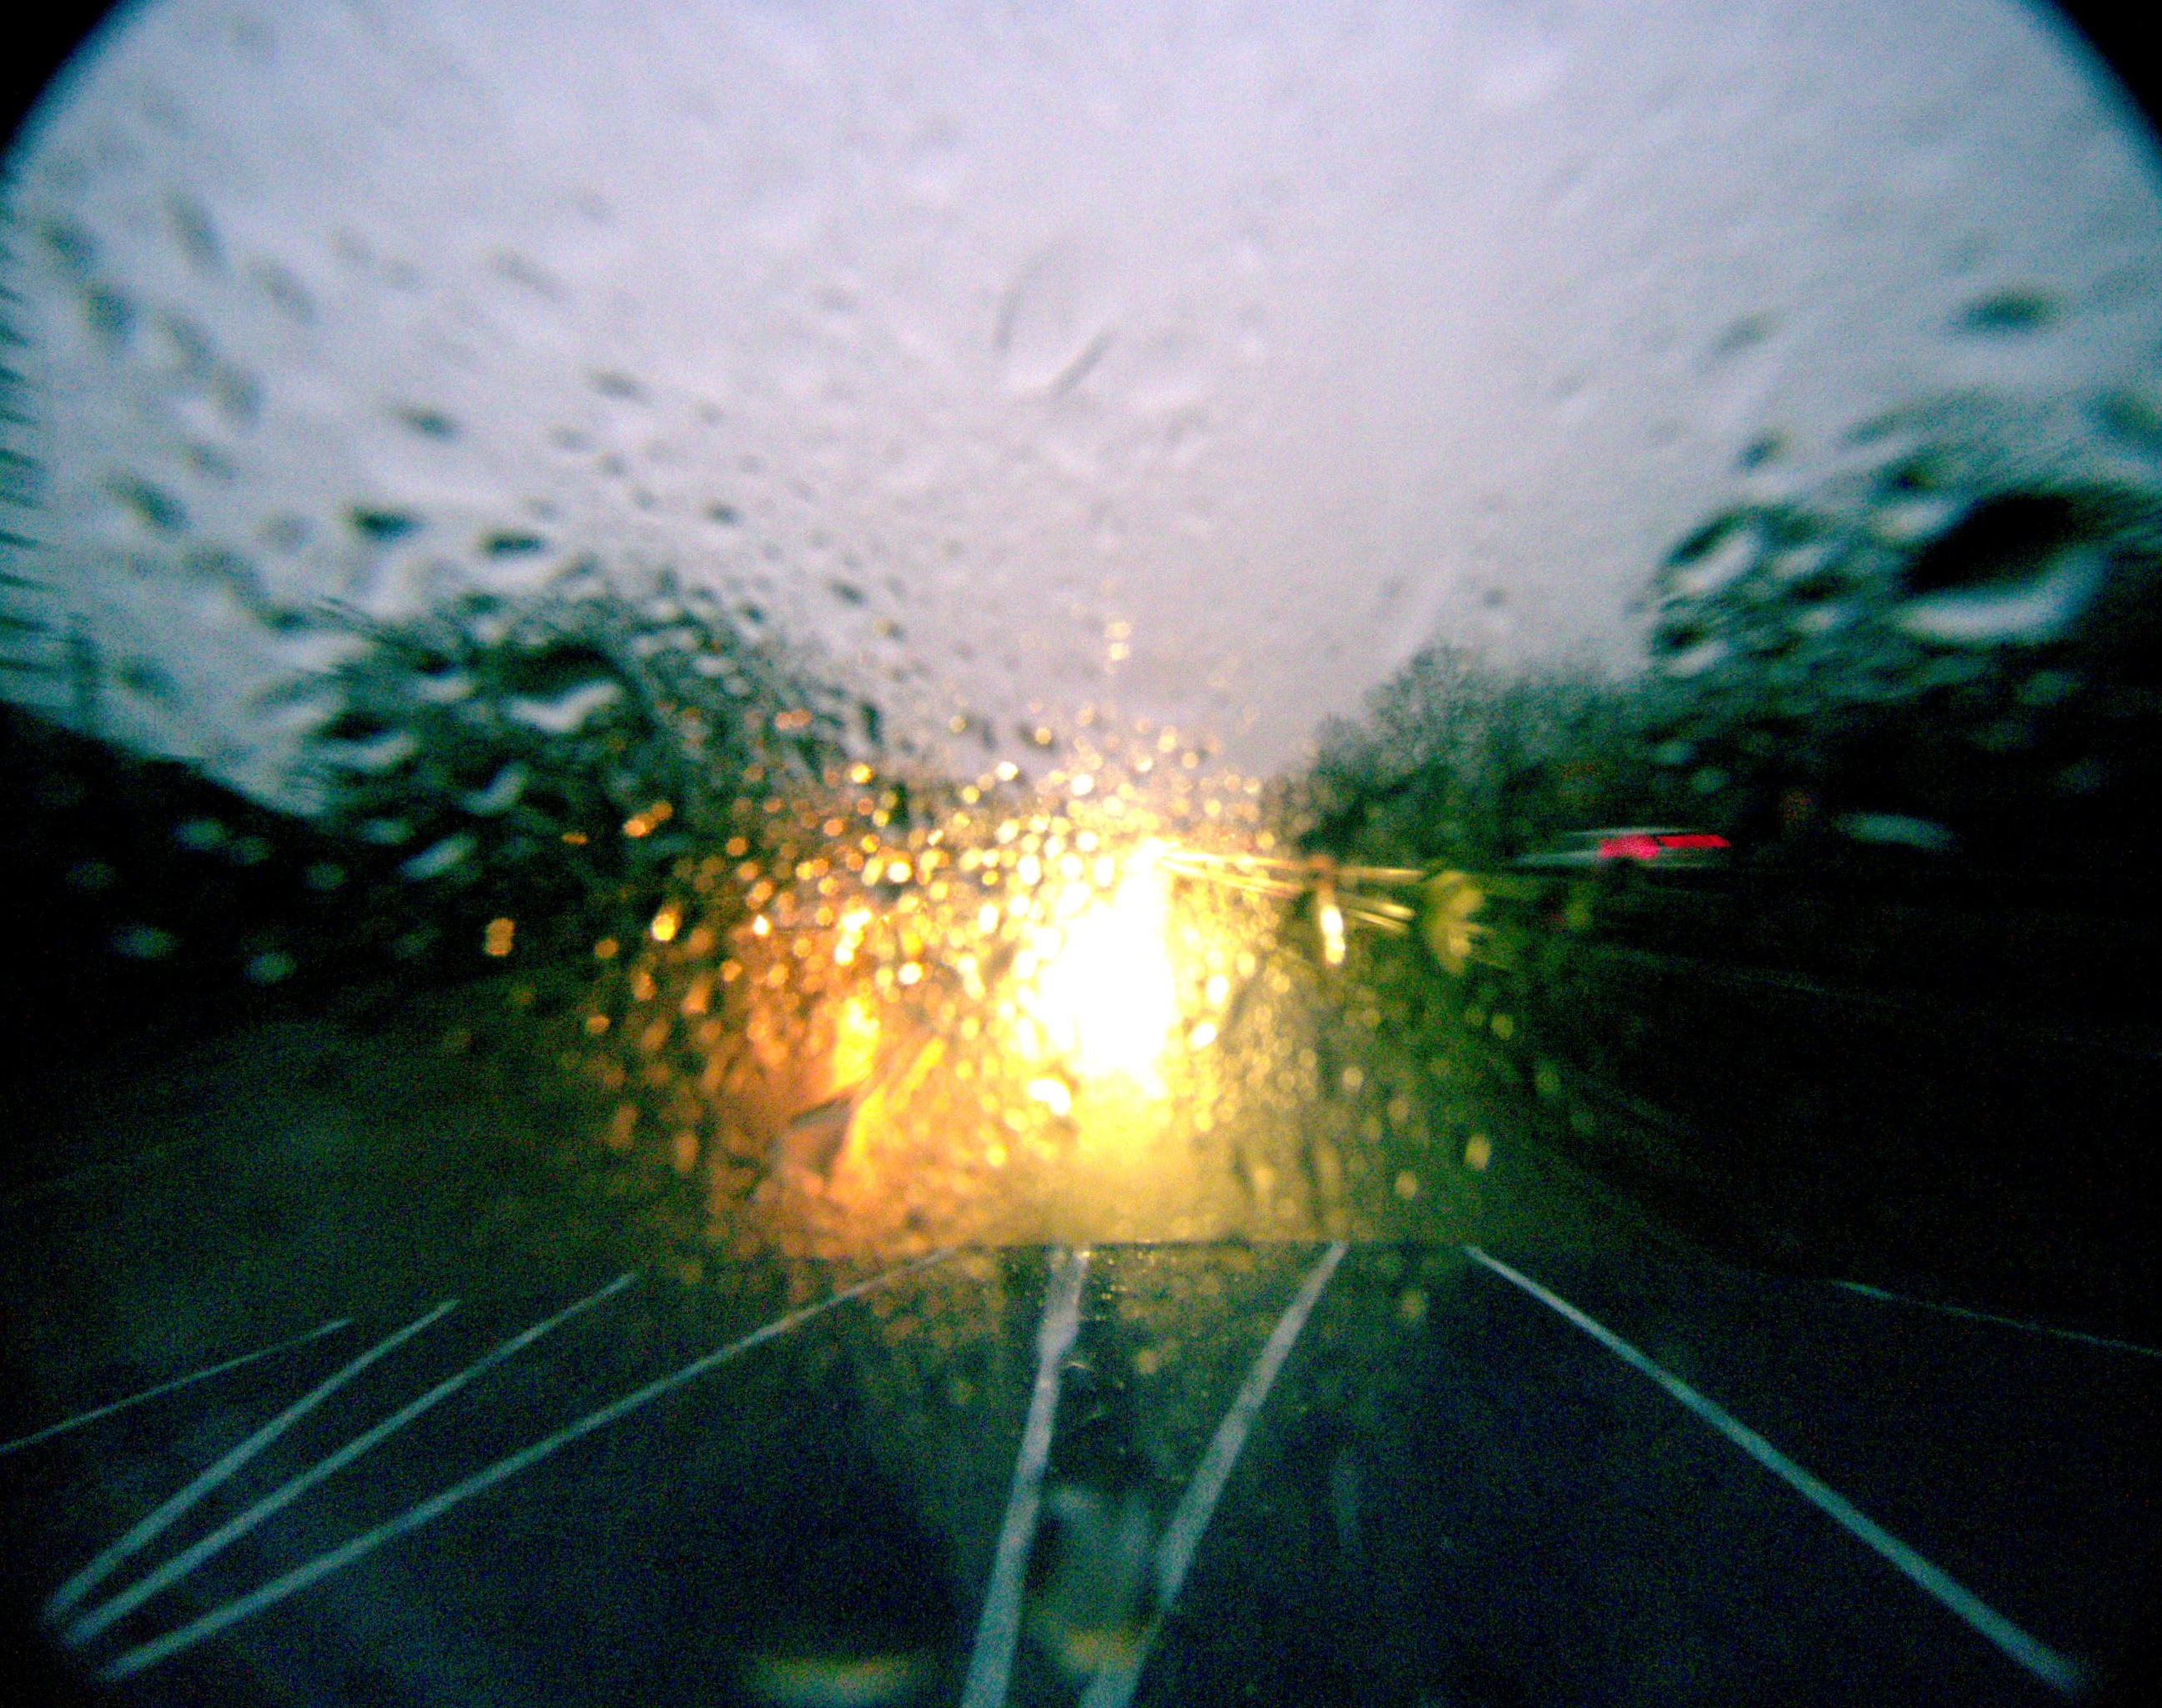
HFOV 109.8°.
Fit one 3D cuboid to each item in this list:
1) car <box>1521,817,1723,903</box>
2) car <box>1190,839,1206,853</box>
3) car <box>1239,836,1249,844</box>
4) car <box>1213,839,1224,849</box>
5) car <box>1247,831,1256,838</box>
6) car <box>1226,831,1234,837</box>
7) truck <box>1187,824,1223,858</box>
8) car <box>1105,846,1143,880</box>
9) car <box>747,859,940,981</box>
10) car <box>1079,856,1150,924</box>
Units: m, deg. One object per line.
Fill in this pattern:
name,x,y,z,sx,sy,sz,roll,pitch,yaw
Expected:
car,12.004,0.096,17.261,1.586,1.660,4.295,-2,1,1
car,17.745,-1.206,115.260,1.991,1.820,5.119,-3,2,5
car,36.293,-3.051,169.021,1.866,1.530,4.114,-3,2,8
car,25.736,-1.874,142.199,1.695,1.657,4.433,-3,2,6
car,43.960,-5.039,196.020,1.884,1.822,4.788,-3,2,8
car,43.510,-5.866,221.690,1.887,1.822,4.788,-3,2,8
truck,12.806,-1.410,78.885,2.720,3.143,7.728,-3,2,3
car,2.309,0.421,39.831,1.758,1.521,4.000,-3,2,6
car,-3.745,0.949,12.883,1.854,1.493,4.261,-4,2,0
car,0.856,0.864,20.048,1.595,1.445,4.176,-3,1,2
